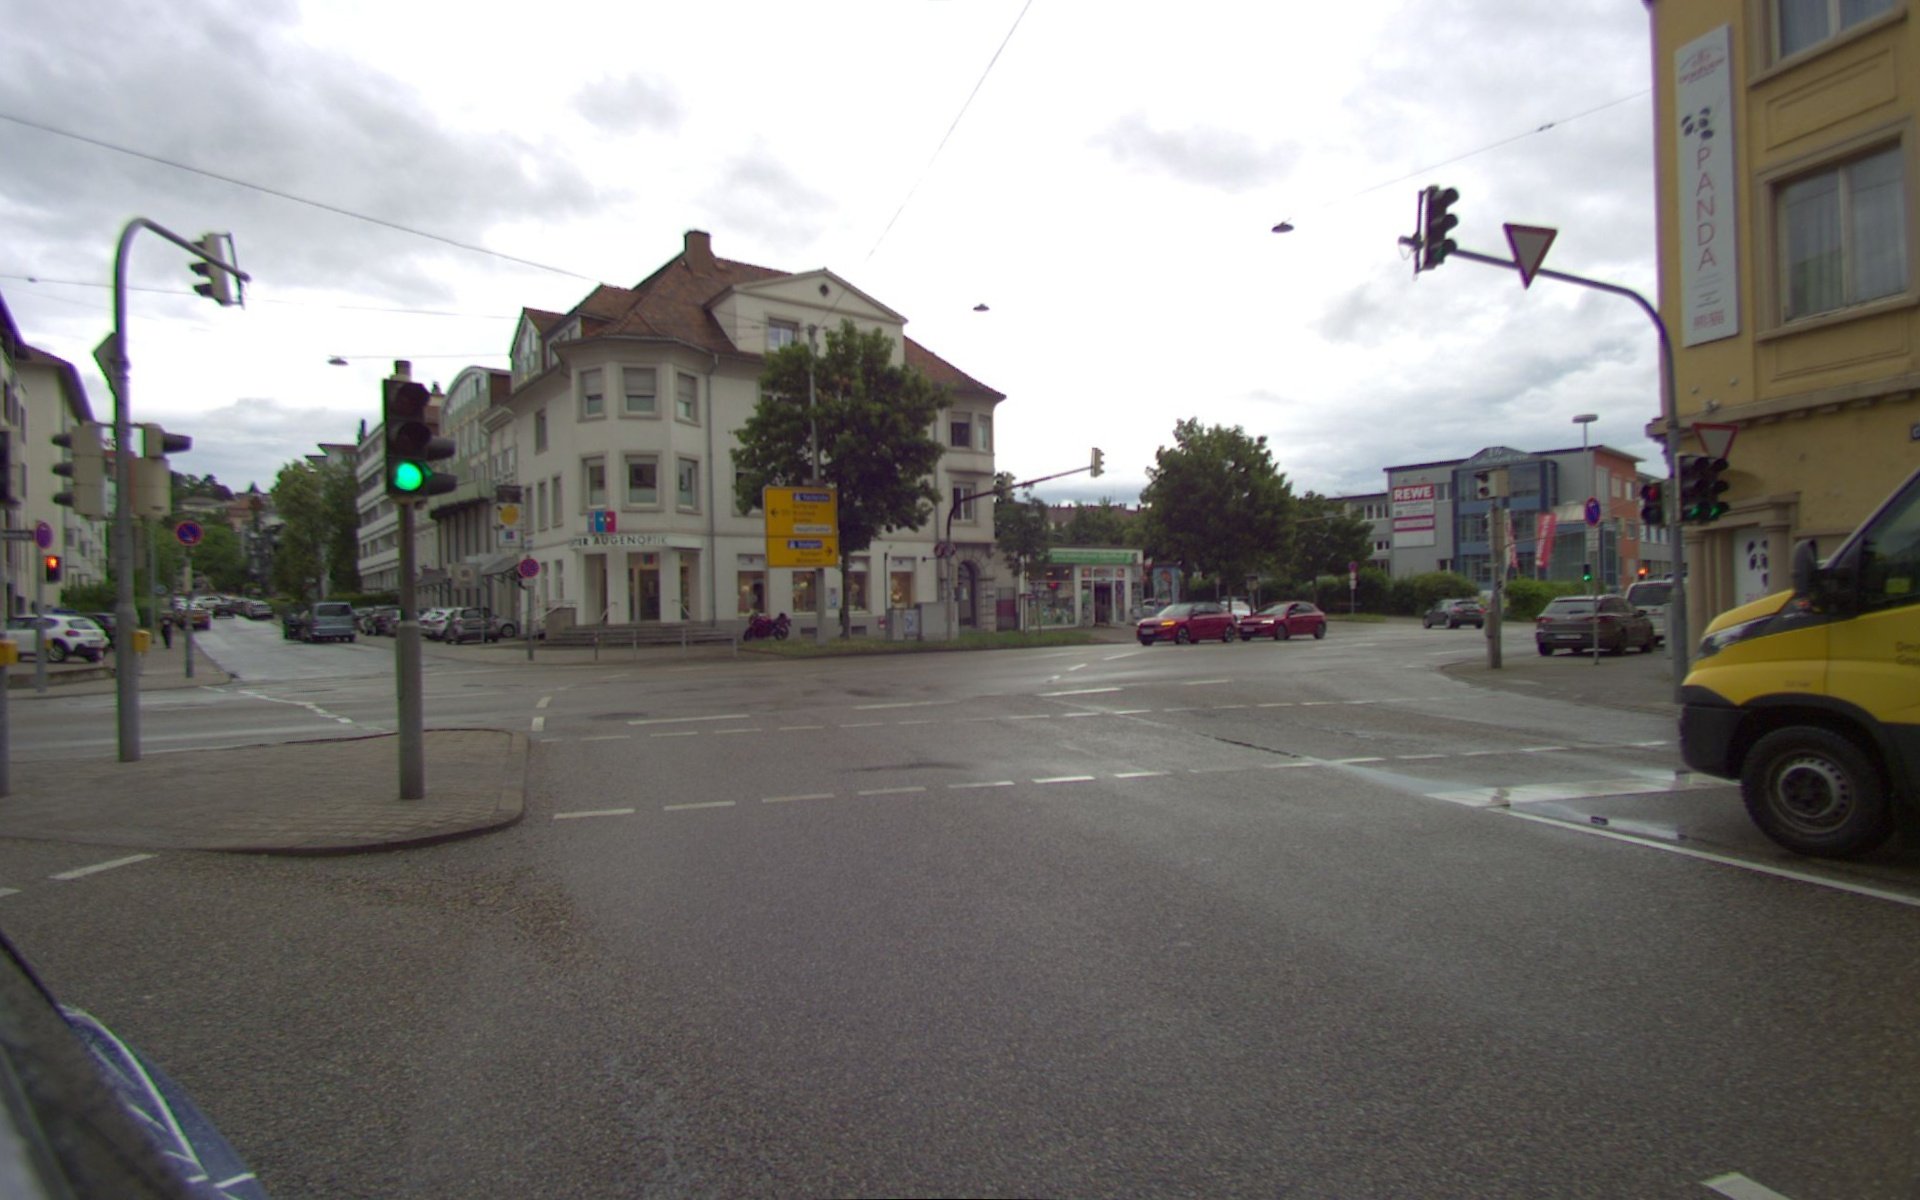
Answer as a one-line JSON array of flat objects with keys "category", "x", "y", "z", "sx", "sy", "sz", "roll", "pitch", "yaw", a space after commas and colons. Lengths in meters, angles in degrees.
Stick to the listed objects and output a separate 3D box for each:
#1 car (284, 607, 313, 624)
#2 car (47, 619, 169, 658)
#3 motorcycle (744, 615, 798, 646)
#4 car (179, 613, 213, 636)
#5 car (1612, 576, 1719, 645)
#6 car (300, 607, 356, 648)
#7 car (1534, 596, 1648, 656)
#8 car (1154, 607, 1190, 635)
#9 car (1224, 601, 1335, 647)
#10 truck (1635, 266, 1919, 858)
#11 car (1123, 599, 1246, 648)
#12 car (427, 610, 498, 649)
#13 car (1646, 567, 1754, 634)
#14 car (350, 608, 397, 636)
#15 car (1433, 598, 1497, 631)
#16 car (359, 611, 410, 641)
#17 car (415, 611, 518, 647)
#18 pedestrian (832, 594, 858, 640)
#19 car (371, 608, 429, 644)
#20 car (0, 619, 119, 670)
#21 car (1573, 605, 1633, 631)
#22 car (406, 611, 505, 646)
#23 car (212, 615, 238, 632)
[{"category": "car", "x": -63.391, "y": 1.480, "z": 96.961, "sx": 1.968, "sy": 1.597, "sz": 4.669, "roll": -1, "pitch": 0, "yaw": -37}, {"category": "car", "x": -37.190, "y": 1.652, "z": 44.316, "sx": 3.934, "sy": 1.519, "sz": 2.005, "roll": -1, "pitch": 0, "yaw": -36}, {"category": "motorcycle", "x": -7.412, "y": 1.185, "z": 39.744, "sx": 1.980, "sy": 1.157, "sz": 0.721, "roll": -1, "pitch": 0, "yaw": -36}, {"category": "car", "x": -56.621, "y": 1.813, "z": 74.987, "sx": 1.968, "sy": 1.597, "sz": 4.669, "roll": -1, "pitch": 0, "yaw": -37}, {"category": "car", "x": 19.991, "y": 0.266, "z": 28.630, "sx": 1.955, "sy": 1.812, "sz": 3.943, "roll": -1, "pitch": 0, "yaw": 43}, {"category": "car", "x": -31.571, "y": 1.349, "z": 50.510, "sx": 1.968, "sy": 1.929, "sz": 4.008, "roll": -1, "pitch": 0, "yaw": -37}, {"category": "car", "x": 15.218, "y": 0.578, "z": 24.323, "sx": 1.616, "sy": 1.298, "sz": 3.943, "roll": -1, "pitch": -1, "yaw": 43}, {"category": "car", "x": 14.928, "y": 1.434, "z": 71.120, "sx": 1.984, "sy": 1.863, "sz": 3.975, "roll": -1, "pitch": 0, "yaw": 19}, {"category": "car", "x": 12.023, "y": 0.848, "z": 37.973, "sx": 3.973, "sy": 1.596, "sz": 2.029, "roll": -1, "pitch": 0, "yaw": -37}, {"category": "truck", "x": 6.260, "y": -0.199, "z": 3.070, "sx": 2.197, "sy": 2.771, "sz": 7.047, "roll": -1, "pitch": 0, "yaw": -20}, {"category": "car", "x": 7.727, "y": 0.775, "z": 34.723, "sx": 3.973, "sy": 1.529, "sz": 2.029, "roll": -1, "pitch": 0, "yaw": -37}, {"category": "car", "x": -21.032, "y": 1.221, "z": 42.749, "sx": 1.967, "sy": 1.519, "sz": 4.009, "roll": -1, "pitch": 0, "yaw": -37}, {"category": "car", "x": 24.380, "y": 0.003, "z": 33.279, "sx": 2.298, "sy": 2.019, "sz": 4.991, "roll": -1, "pitch": 0, "yaw": 43}, {"category": "car", "x": -35.364, "y": 1.324, "z": 60.963, "sx": 1.968, "sy": 1.597, "sz": 4.008, "roll": -1, "pitch": 0, "yaw": -37}, {"category": "car", "x": 26.218, "y": 0.739, "z": 52.716, "sx": 2.279, "sy": 1.596, "sz": 5.031, "roll": -1, "pitch": 0, "yaw": 18}, {"category": "car", "x": -32.562, "y": 1.449, "z": 57.249, "sx": 1.968, "sy": 1.597, "sz": 4.008, "roll": -1, "pitch": 0, "yaw": -37}, {"category": "car", "x": -22.737, "y": 1.316, "z": 46.670, "sx": 3.936, "sy": 1.519, "sz": 2.004, "roll": -1, "pitch": 0, "yaw": -39}, {"category": "pedestrian", "x": -4.462, "y": 0.642, "z": 39.257, "sx": 0.743, "sy": 1.742, "sz": 0.684, "roll": -1, "pitch": 0, "yaw": -34}, {"category": "car", "x": -29.247, "y": 1.343, "z": 52.807, "sx": 1.969, "sy": 1.596, "sz": 4.008, "roll": -8, "pitch": 4, "yaw": -37}, {"category": "car", "x": -29.598, "y": 1.404, "z": 32.265, "sx": 3.939, "sy": 1.506, "sz": 1.803, "roll": -1, "pitch": 0, "yaw": -5}, {"category": "car", "x": 41.372, "y": 1.135, "z": 65.083, "sx": 2.298, "sy": 1.596, "sz": 4.989, "roll": -1, "pitch": 0, "yaw": 44}, {"category": "car", "x": -24.251, "y": 1.340, "z": 48.698, "sx": 3.936, "sy": 1.519, "sz": 2.004, "roll": -1, "pitch": 0, "yaw": -39}, {"category": "car", "x": -72.970, "y": 2.304, "z": 100.480, "sx": 1.968, "sy": 1.597, "sz": 4.669, "roll": -1, "pitch": 0, "yaw": -37}]
